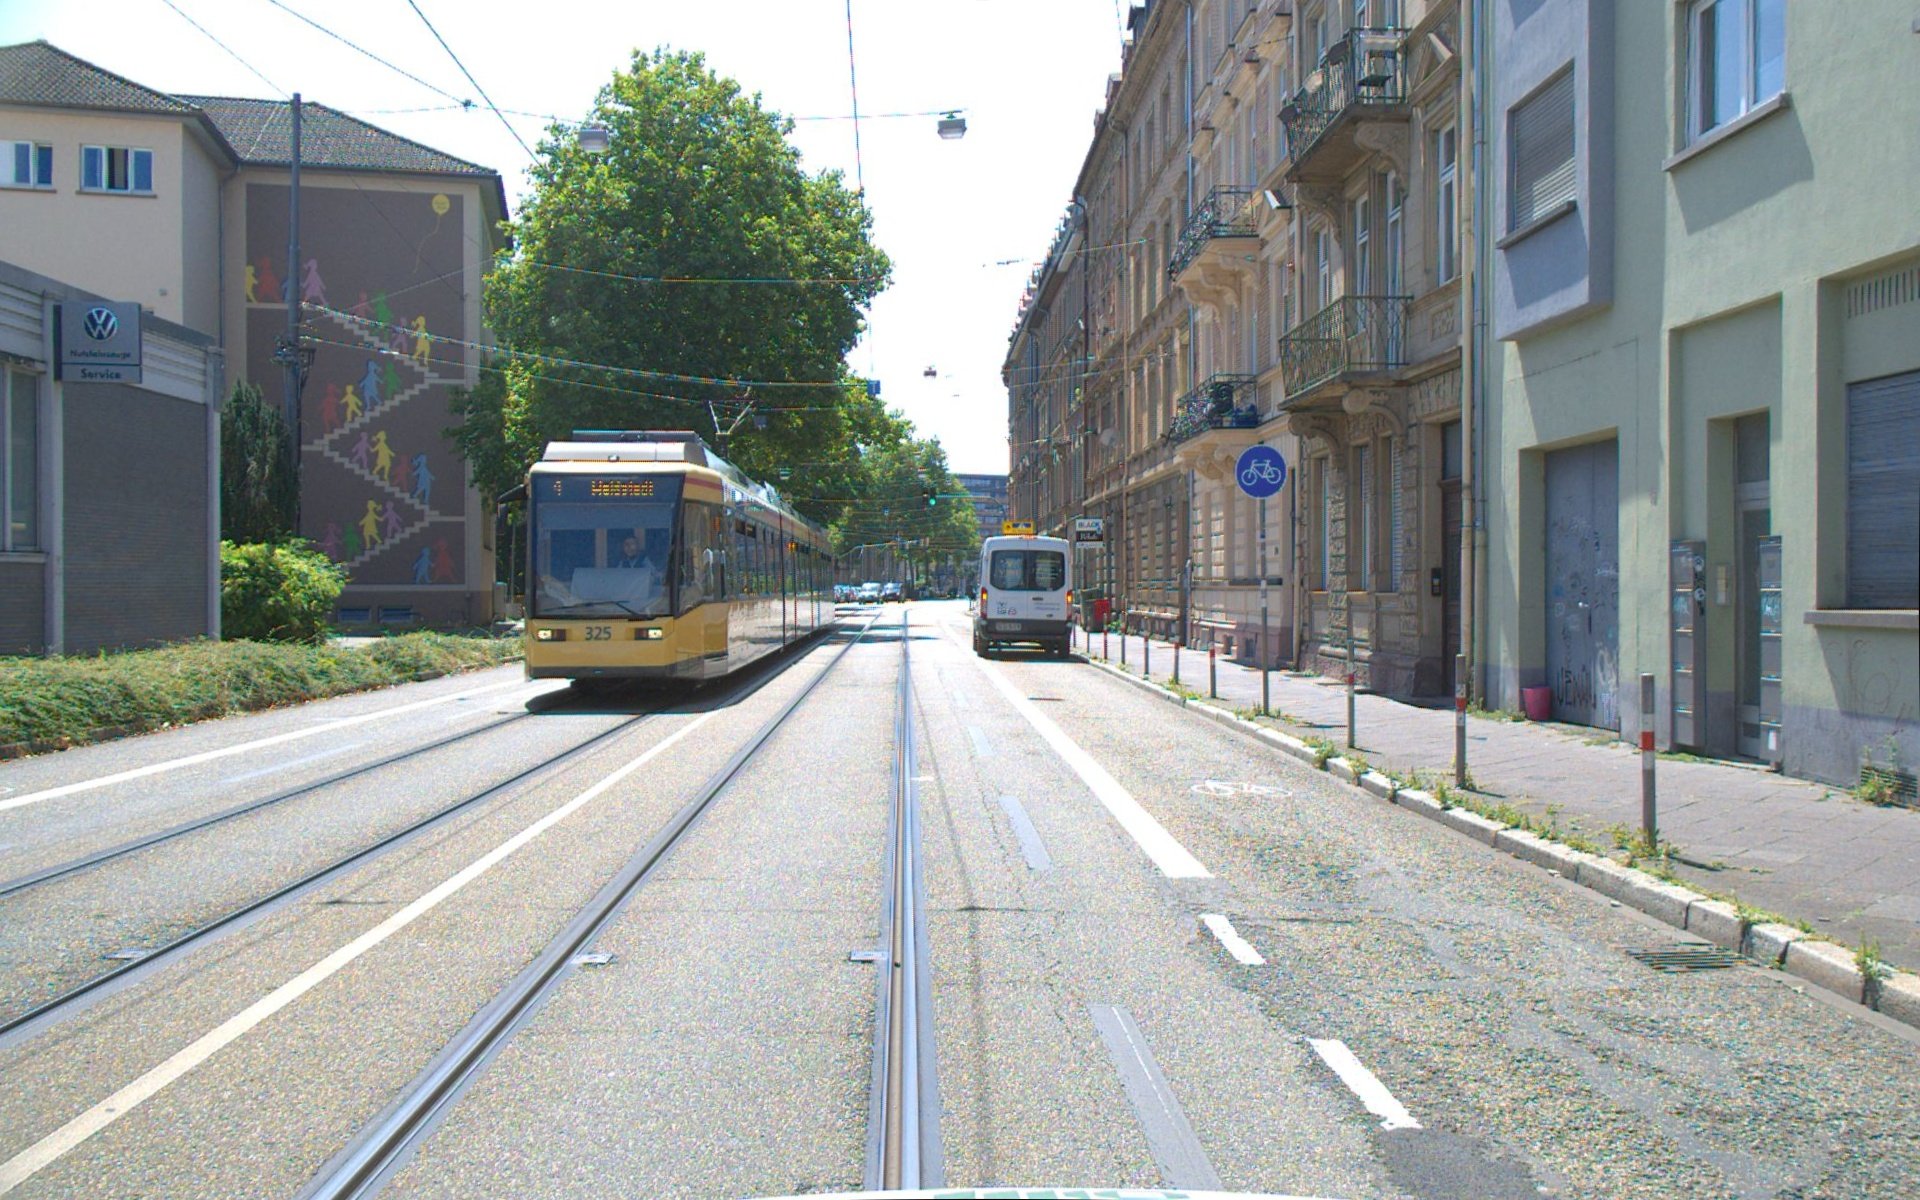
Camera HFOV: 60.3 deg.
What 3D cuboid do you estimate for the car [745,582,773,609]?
[{"bbox_3d":[-11.727,-0.273,96.788,1.426,1.522,3.660,0,0,-4],"label":"car"}]

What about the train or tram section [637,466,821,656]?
[{"bbox_3d":[-5.012,-0.818,38.538,2.901,3.642,13.417,0,1,-2],"label":"train or tram section"}]

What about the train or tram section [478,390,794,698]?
[{"bbox_3d":[-4.519,-0.742,26.374,2.901,3.642,13.417,0,1,-2],"label":"train or tram section"}]

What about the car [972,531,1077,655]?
[{"bbox_3d":[1.346,-0.171,36.855,2.025,2.544,5.453,1,0,-1],"label":"car"}]

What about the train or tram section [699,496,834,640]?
[{"bbox_3d":[-5.430,-0.883,48.773,2.901,3.642,13.417,0,1,-2],"label":"train or tram section"}]

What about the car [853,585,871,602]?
[{"bbox_3d":[-8.345,-0.532,140.686,1.498,1.433,3.487,0,0,-4],"label":"car"}]

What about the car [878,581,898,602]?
[{"bbox_3d":[-6.499,-0.770,148.185,1.641,1.892,3.996,0,0,-5],"label":"car"}]
